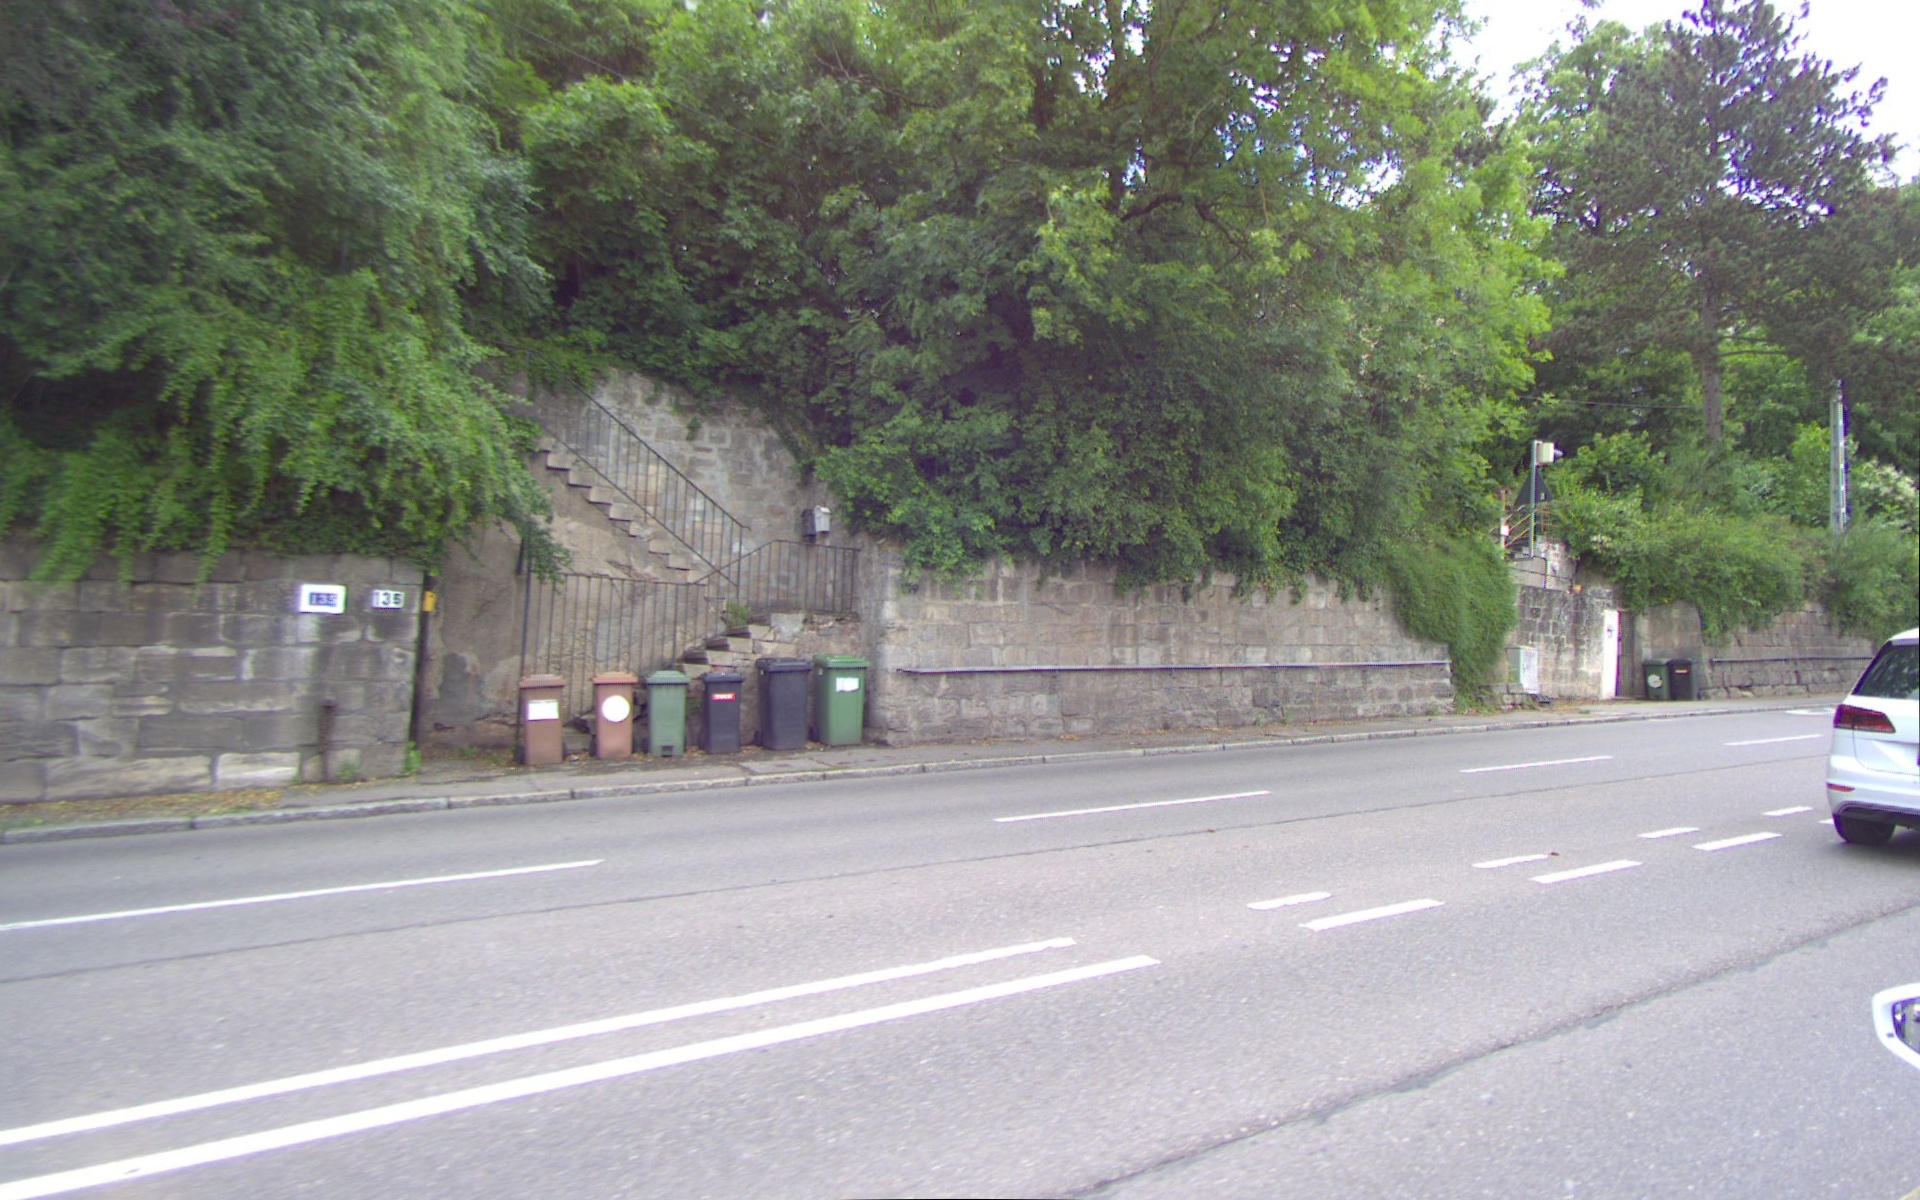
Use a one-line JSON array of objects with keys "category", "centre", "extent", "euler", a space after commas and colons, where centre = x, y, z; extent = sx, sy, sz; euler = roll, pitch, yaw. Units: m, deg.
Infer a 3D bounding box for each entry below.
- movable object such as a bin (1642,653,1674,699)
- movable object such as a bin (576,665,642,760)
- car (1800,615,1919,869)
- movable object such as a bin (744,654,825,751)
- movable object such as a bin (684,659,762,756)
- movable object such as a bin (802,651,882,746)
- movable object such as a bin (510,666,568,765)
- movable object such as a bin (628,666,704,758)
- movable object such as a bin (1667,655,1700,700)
[{"category": "movable object such as a bin", "centre": [15.648, 1.693, 22.531], "extent": [0.364, 0.984, 0.474], "euler": [2, 0, -34]}, {"category": "movable object such as a bin", "centre": [-3.878, 1.222, 11.082], "extent": [0.537, 0.978, 0.670], "euler": [1, -2, -33]}, {"category": "car", "centre": [7.902, 0.920, 7.112], "extent": [4.226, 1.575, 1.712], "euler": [1, -2, -31]}, {"category": "movable object such as a bin", "centre": [-2.088, 1.193, 11.935], "extent": [0.710, 1.075, 0.767], "euler": [1, -2, -33]}, {"category": "movable object such as a bin", "centre": [-2.755, 1.222, 11.659], "extent": [0.615, 1.048, 0.893], "euler": [1, -2, -33]}, {"category": "movable object such as a bin", "centre": [-1.447, 1.178, 12.283], "extent": [0.701, 1.085, 0.783], "euler": [0, -1, -33]}, {"category": "movable object such as a bin", "centre": [-4.408, 1.189, 10.511], "extent": [0.469, 0.978, 0.514], "euler": [1, -2, -33]}, {"category": "movable object such as a bin", "centre": [-3.330, 1.242, 11.350], "extent": [0.587, 0.958, 0.911], "euler": [1, -2, -33]}, {"category": "movable object such as a bin", "centre": [15.915, 1.705, 22.103], "extent": [0.362, 0.948, 0.476], "euler": [2, 0, -34]}]
